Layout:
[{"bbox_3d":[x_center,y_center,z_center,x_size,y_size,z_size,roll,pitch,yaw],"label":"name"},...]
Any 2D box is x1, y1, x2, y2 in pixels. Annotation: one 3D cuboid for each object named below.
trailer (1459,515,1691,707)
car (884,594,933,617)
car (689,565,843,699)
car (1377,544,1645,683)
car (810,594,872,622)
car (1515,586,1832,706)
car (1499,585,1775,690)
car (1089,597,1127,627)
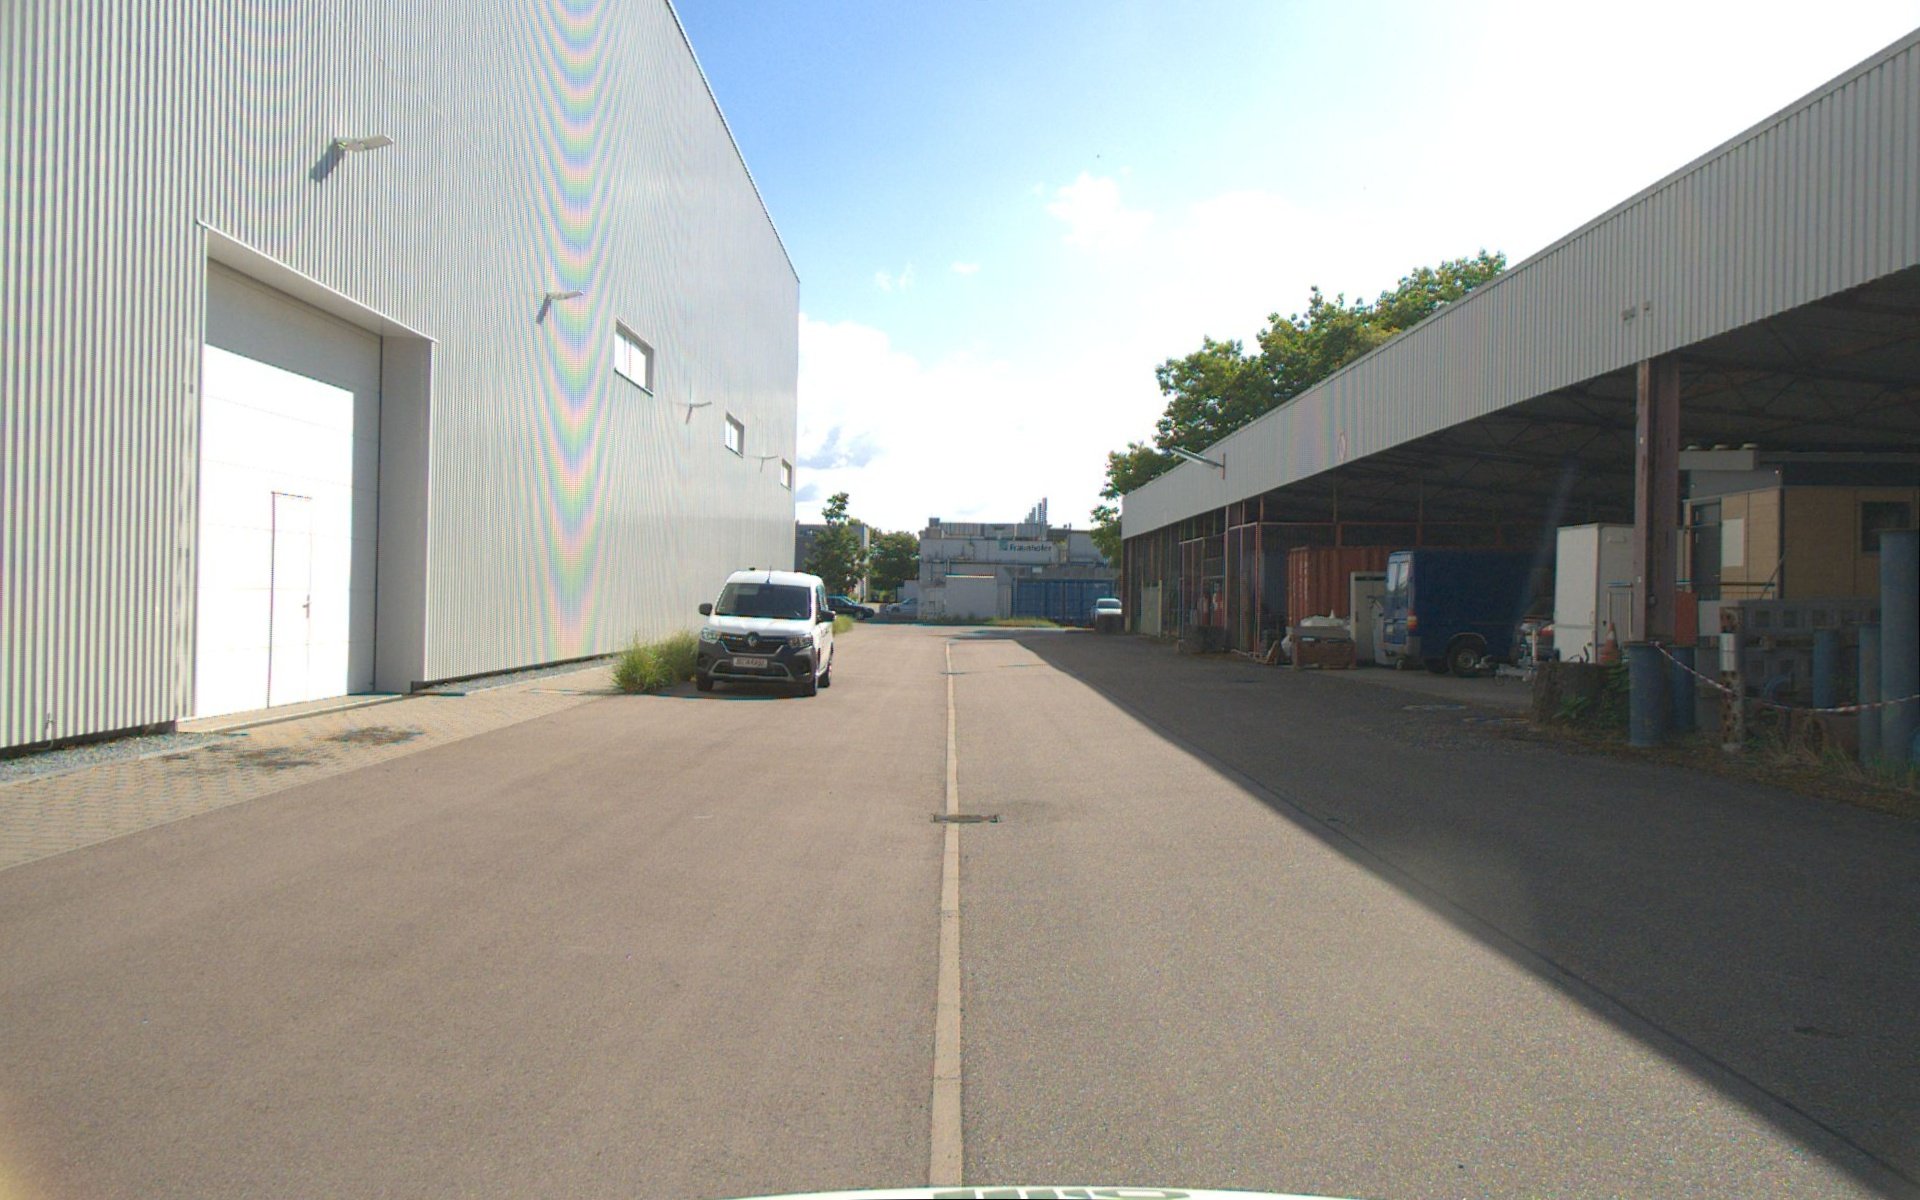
[{"bbox_3d":[8.187,0.155,22.181,2.472,2.441,1.727,1,-1,0],"label":"trailer"},{"bbox_3d":[-4.210,0.466,135.596,3.907,1.626,1.847,2,-2,-2],"label":"car"},{"bbox_3d":[-2.894,0.431,25.517,1.781,1.818,4.405,2,0,0],"label":"car"},{"bbox_3d":[10.250,0.284,30.990,4.342,2.350,1.915,2,-2,0],"label":"car"},{"bbox_3d":[-7.746,0.507,107.677,3.907,1.626,1.741,2,-2,-2],"label":"car"},{"bbox_3d":[10.476,0.685,24.470,3.955,1.551,1.684,2,-2,0],"label":"car"},{"bbox_3d":[11.356,0.641,27.904,3.955,1.551,1.684,2,-2,0],"label":"car"},{"bbox_3d":[8.513,0.685,95.440,1.921,1.592,4.060,2,1,1],"label":"car"}]
